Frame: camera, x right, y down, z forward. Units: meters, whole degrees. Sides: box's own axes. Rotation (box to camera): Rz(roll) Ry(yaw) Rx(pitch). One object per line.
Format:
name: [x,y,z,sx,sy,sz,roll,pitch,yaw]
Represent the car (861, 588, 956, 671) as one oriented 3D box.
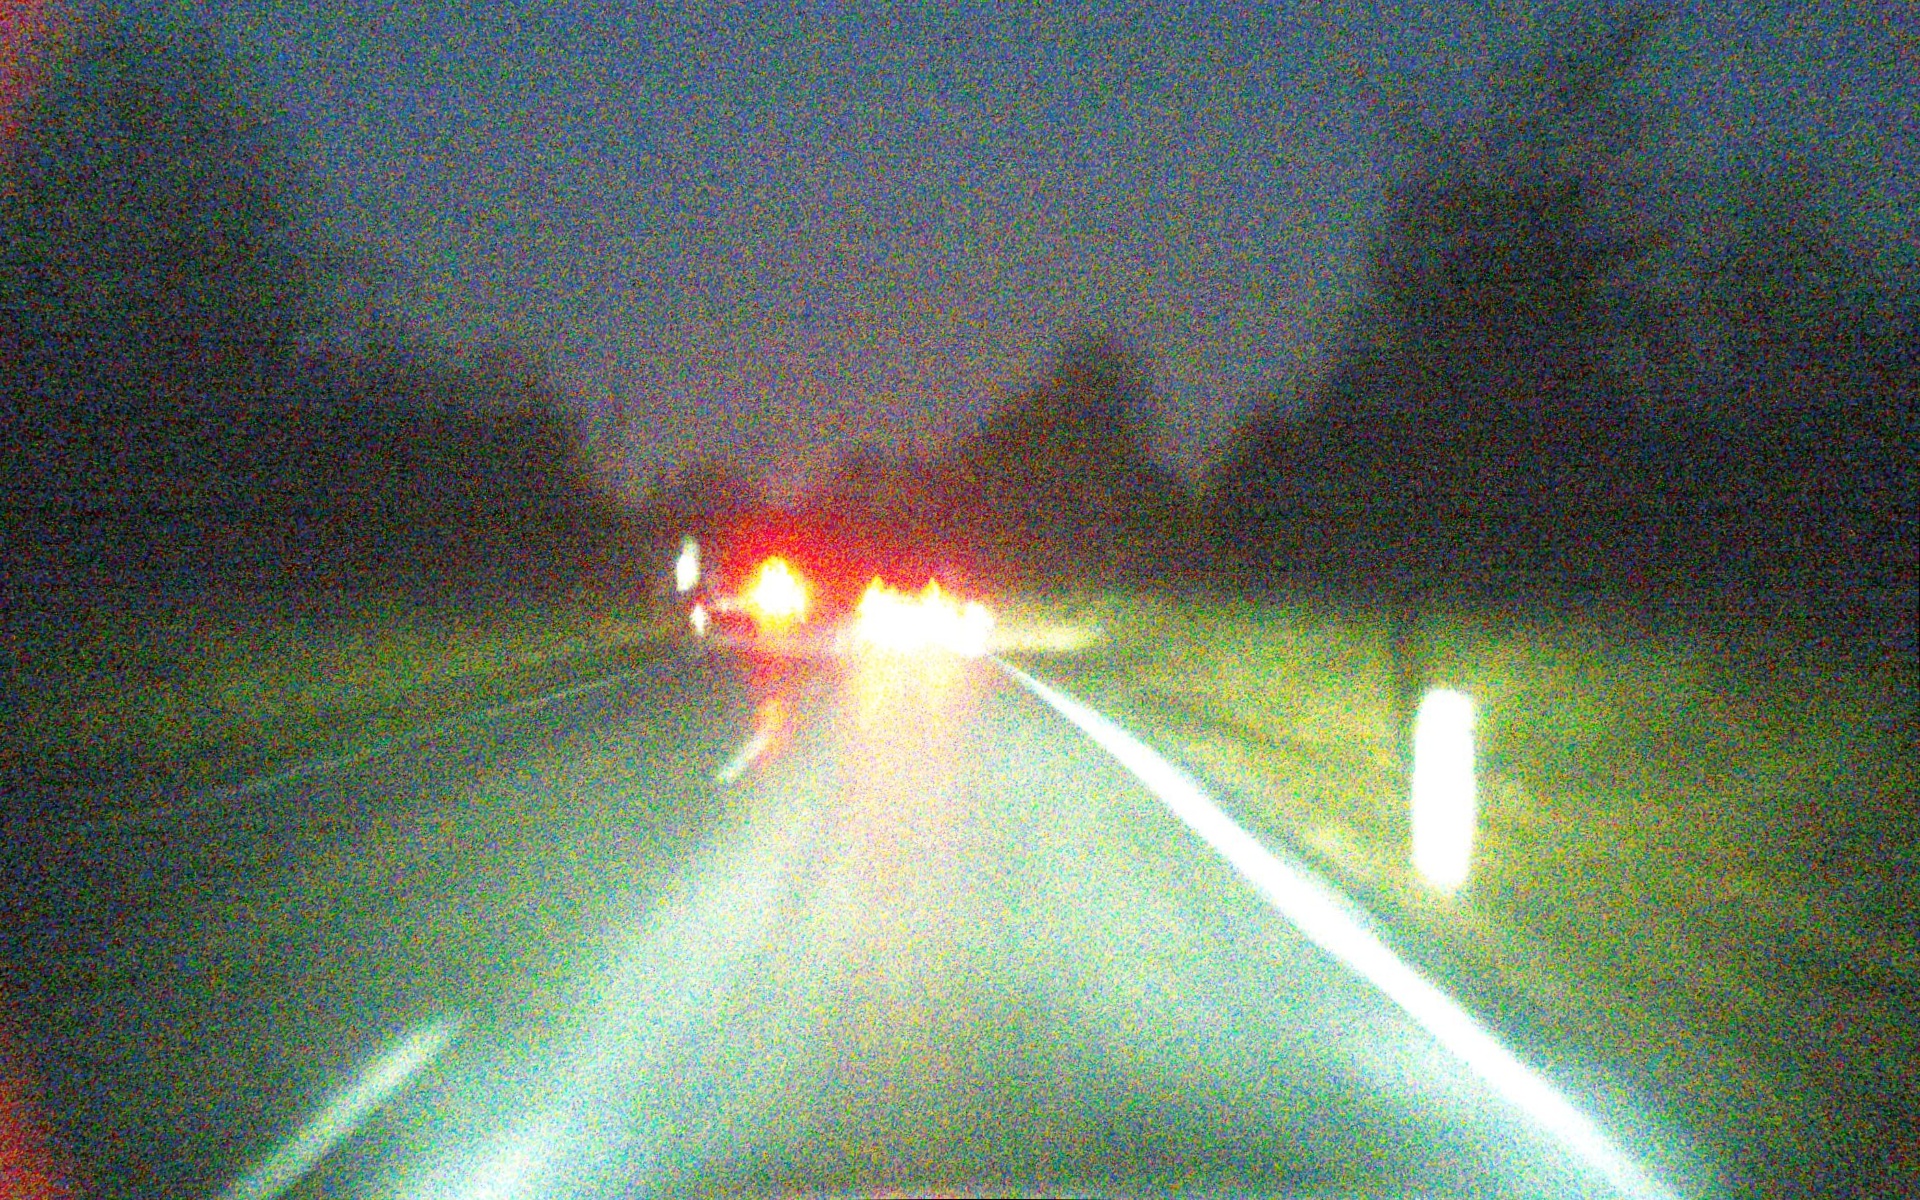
car: [-1.181,0.597,36.985,1.953,1.656,4.982,0,1,-3]
